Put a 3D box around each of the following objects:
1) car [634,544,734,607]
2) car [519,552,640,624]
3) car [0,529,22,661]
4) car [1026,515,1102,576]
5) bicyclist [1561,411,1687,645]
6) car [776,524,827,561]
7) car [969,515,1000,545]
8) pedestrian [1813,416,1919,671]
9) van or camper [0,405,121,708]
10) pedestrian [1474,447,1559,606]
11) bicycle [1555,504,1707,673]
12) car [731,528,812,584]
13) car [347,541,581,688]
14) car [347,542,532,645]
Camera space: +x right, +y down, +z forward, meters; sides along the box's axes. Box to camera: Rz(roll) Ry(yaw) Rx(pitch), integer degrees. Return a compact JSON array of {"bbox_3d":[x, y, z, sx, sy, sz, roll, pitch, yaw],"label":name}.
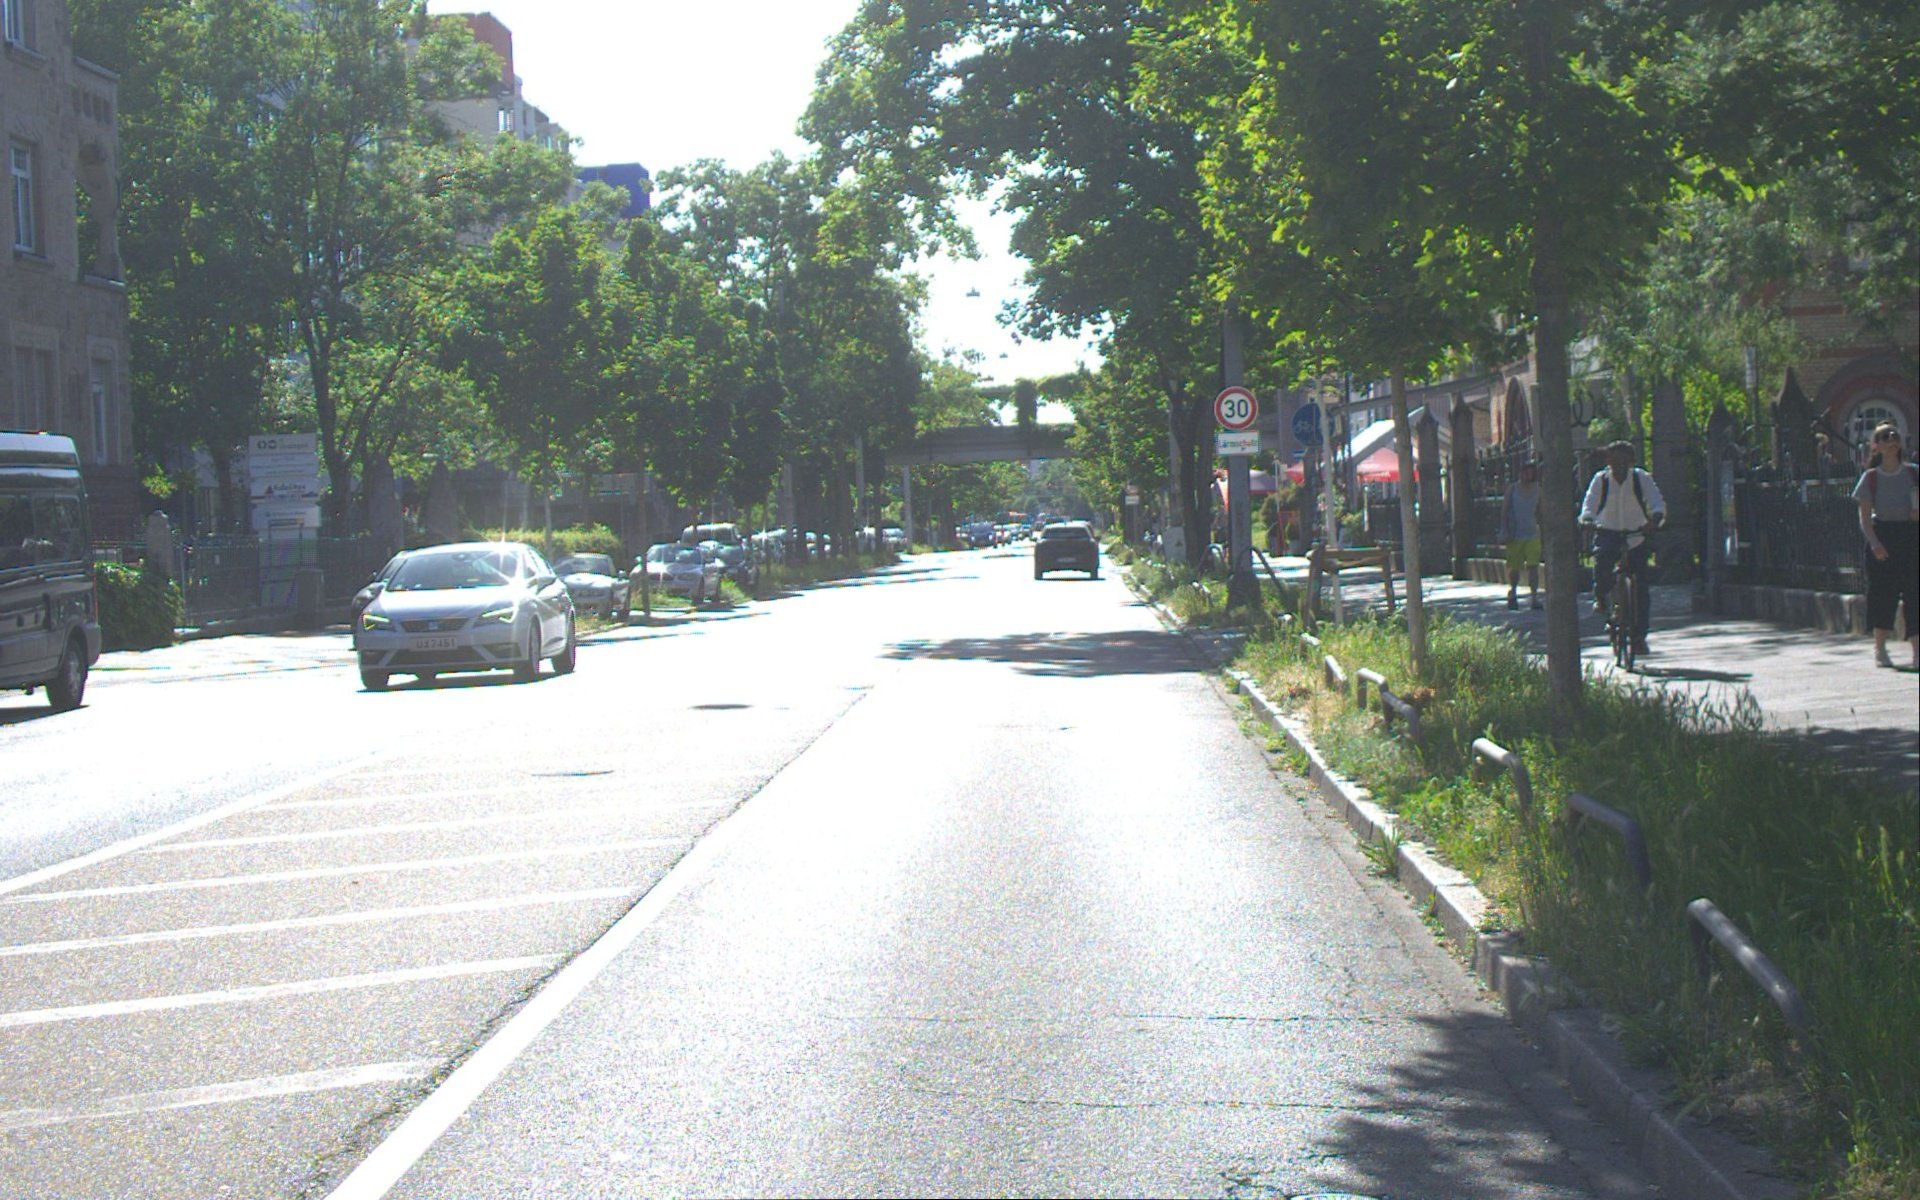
[{"bbox_3d":[-6.550,-0.603,81.942,1.688,1.378,4.190,-1,1,5],"label":"car"},{"bbox_3d":[-7.239,-0.243,65.748,1.678,1.251,4.015,-1,1,2],"label":"car"},{"bbox_3d":[-14.329,-0.085,43.923,4.130,1.664,2.000,0,3,-31],"label":"car"},{"bbox_3d":[2.874,-1.534,95.361,1.985,1.595,4.141,-2,2,1],"label":"car"},{"bbox_3d":[4.998,-0.546,25.902,0.620,1.684,0.820,-5,1,-2],"label":"bicyclist"},{"bbox_3d":[-6.900,-2.509,149.951,1.856,1.563,3.871,-1,1,3],"label":"car"},{"bbox_3d":[1.593,-4.566,224.062,1.856,1.818,4.610,-4,1,1],"label":"car"},{"bbox_3d":[6.271,-0.389,23.197,0.694,1.652,0.820,-5,0,1],"label":"pedestrian"},{"bbox_3d":[-9.730,-0.378,31.707,2.216,2.730,6.088,-2,1,2],"label":"van or camper"},{"bbox_3d":[6.508,-0.861,40.151,0.748,1.781,0.810,-5,1,16],"label":"pedestrian"},{"bbox_3d":[5.039,-0.107,25.923,0.616,1.172,1.919,-5,2,-2],"label":"bicycle"},{"bbox_3d":[-5.128,-1.223,93.832,1.712,1.453,4.072,-1,1,3],"label":"car"},{"bbox_3d":[-5.112,0.106,35.937,1.918,1.414,4.226,0,1,-1],"label":"car"},{"bbox_3d":[-7.887,-0.132,52.491,1.856,1.422,4.720,2,1,3],"label":"car"}]
